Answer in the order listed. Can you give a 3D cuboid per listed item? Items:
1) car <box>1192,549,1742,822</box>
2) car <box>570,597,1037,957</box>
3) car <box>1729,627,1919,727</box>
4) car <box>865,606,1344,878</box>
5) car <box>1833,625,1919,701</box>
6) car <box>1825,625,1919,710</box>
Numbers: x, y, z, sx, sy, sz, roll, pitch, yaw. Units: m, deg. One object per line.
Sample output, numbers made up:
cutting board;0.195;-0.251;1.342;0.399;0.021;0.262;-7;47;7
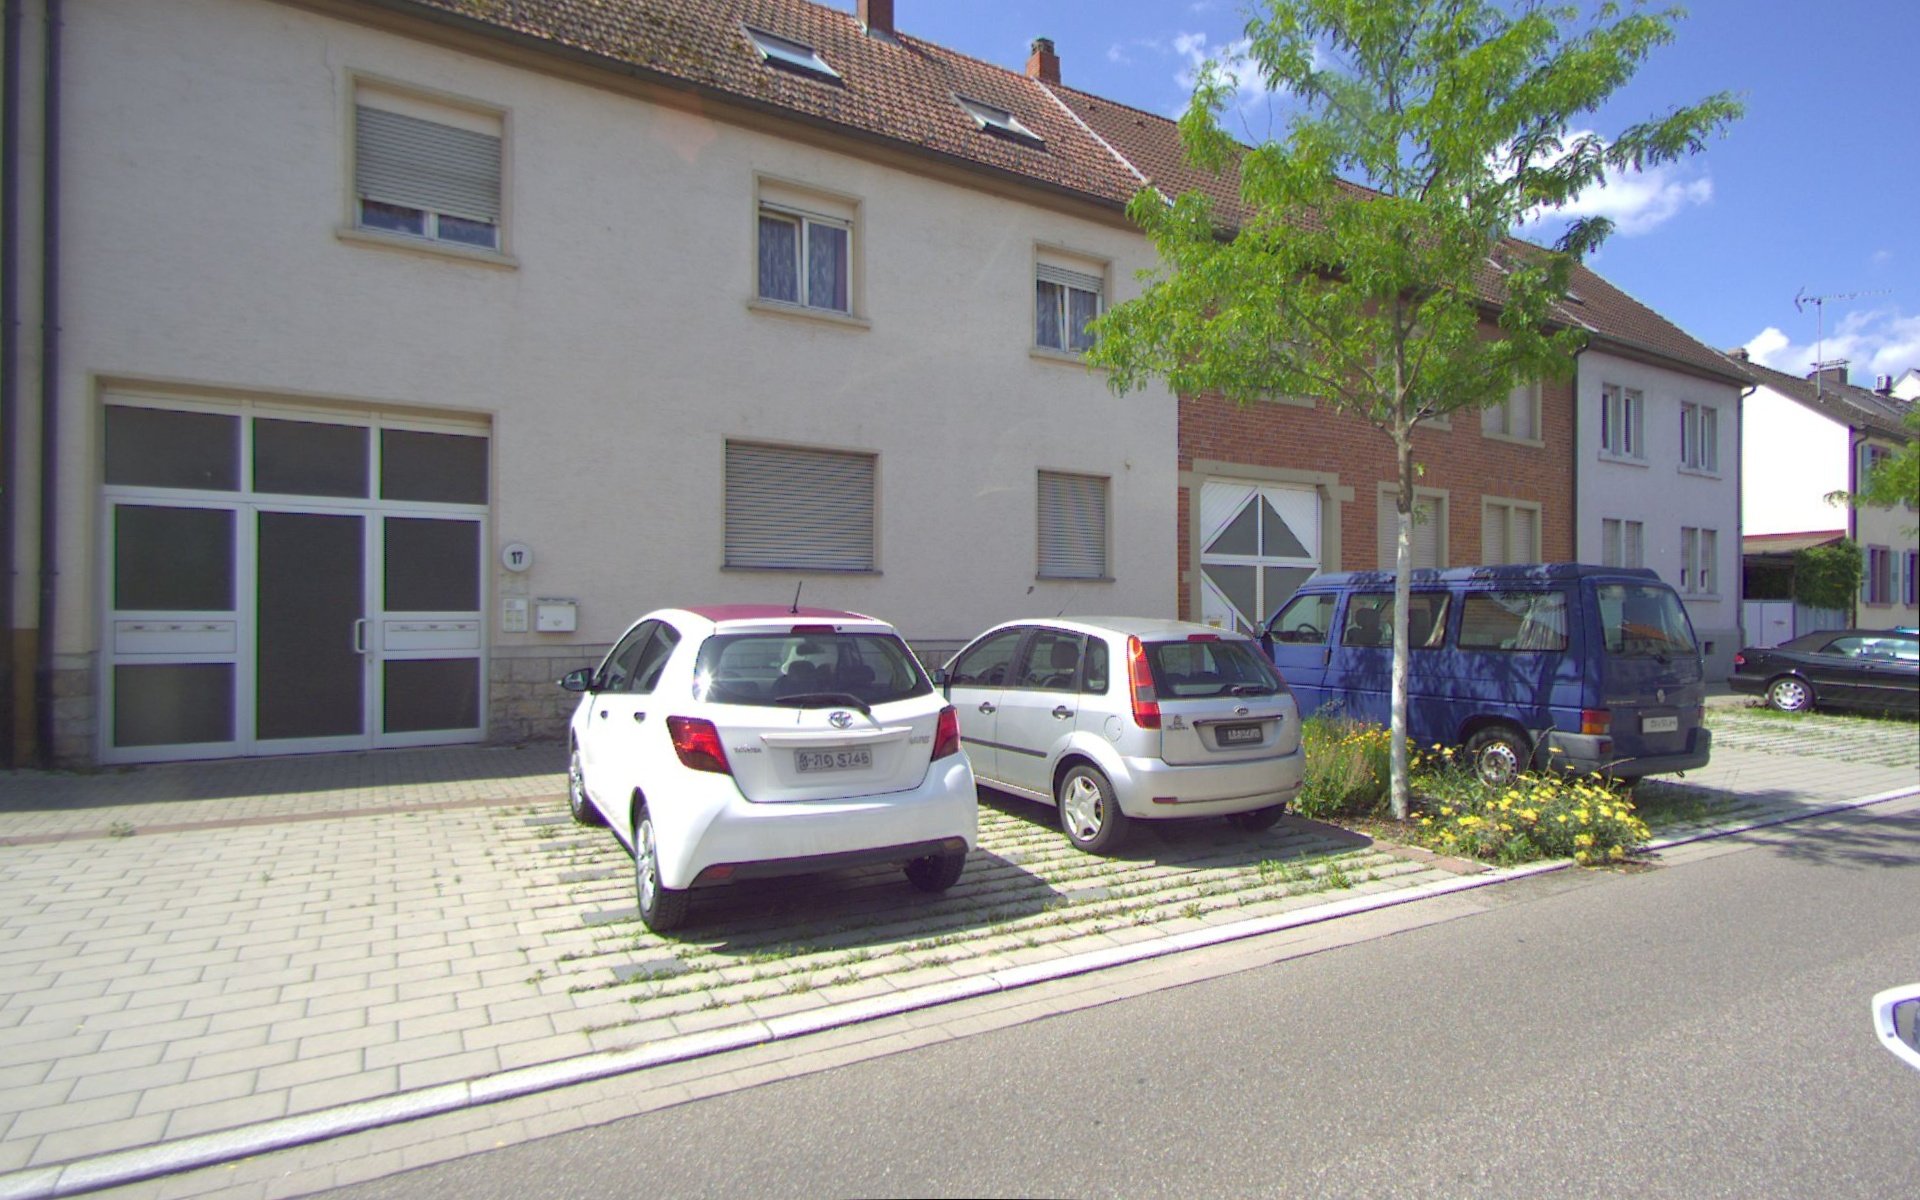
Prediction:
car;4.596;0.645;9.950;1.928;2.023;4.594;1;0;-28
car;-1.299;0.758;6.379;1.750;1.508;3.900;1;0;-28
car;15.307;1.228;16.034;1.774;1.444;4.502;1;0;-30
car;0.821;0.837;7.867;1.750;1.508;3.900;1;0;-28
car;20.604;1.309;20.132;1.757;1.497;4.377;1;0;-33
car;18.426;1.262;18.067;1.756;1.497;4.031;1;0;-32
